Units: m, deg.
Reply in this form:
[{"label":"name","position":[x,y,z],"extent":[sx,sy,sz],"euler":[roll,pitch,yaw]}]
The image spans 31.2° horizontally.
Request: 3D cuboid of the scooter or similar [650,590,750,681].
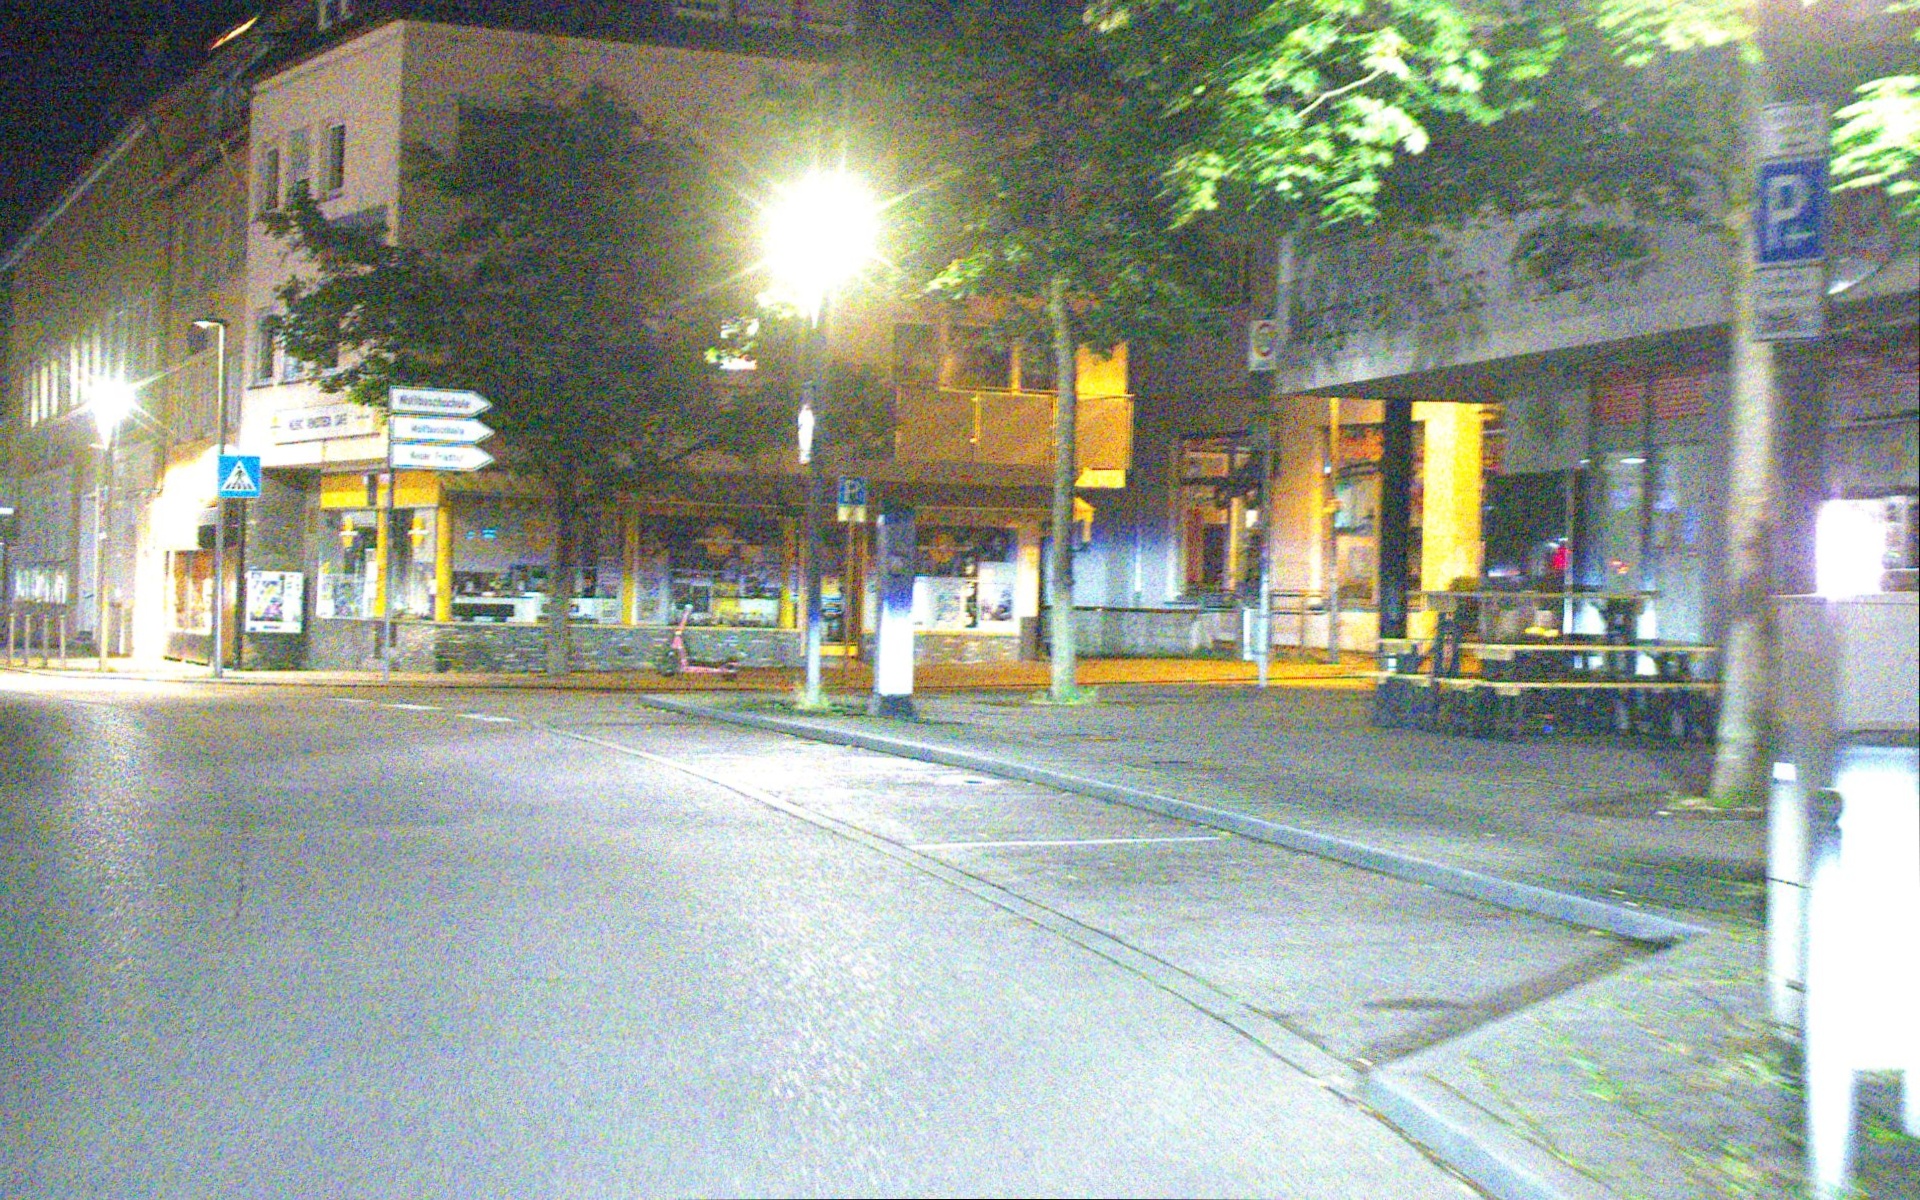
[{"label":"scooter or similar","position":[-3.687,0.508,48.747],"extent":[1.246,1.223,0.598],"euler":[2,1,-17]}]
